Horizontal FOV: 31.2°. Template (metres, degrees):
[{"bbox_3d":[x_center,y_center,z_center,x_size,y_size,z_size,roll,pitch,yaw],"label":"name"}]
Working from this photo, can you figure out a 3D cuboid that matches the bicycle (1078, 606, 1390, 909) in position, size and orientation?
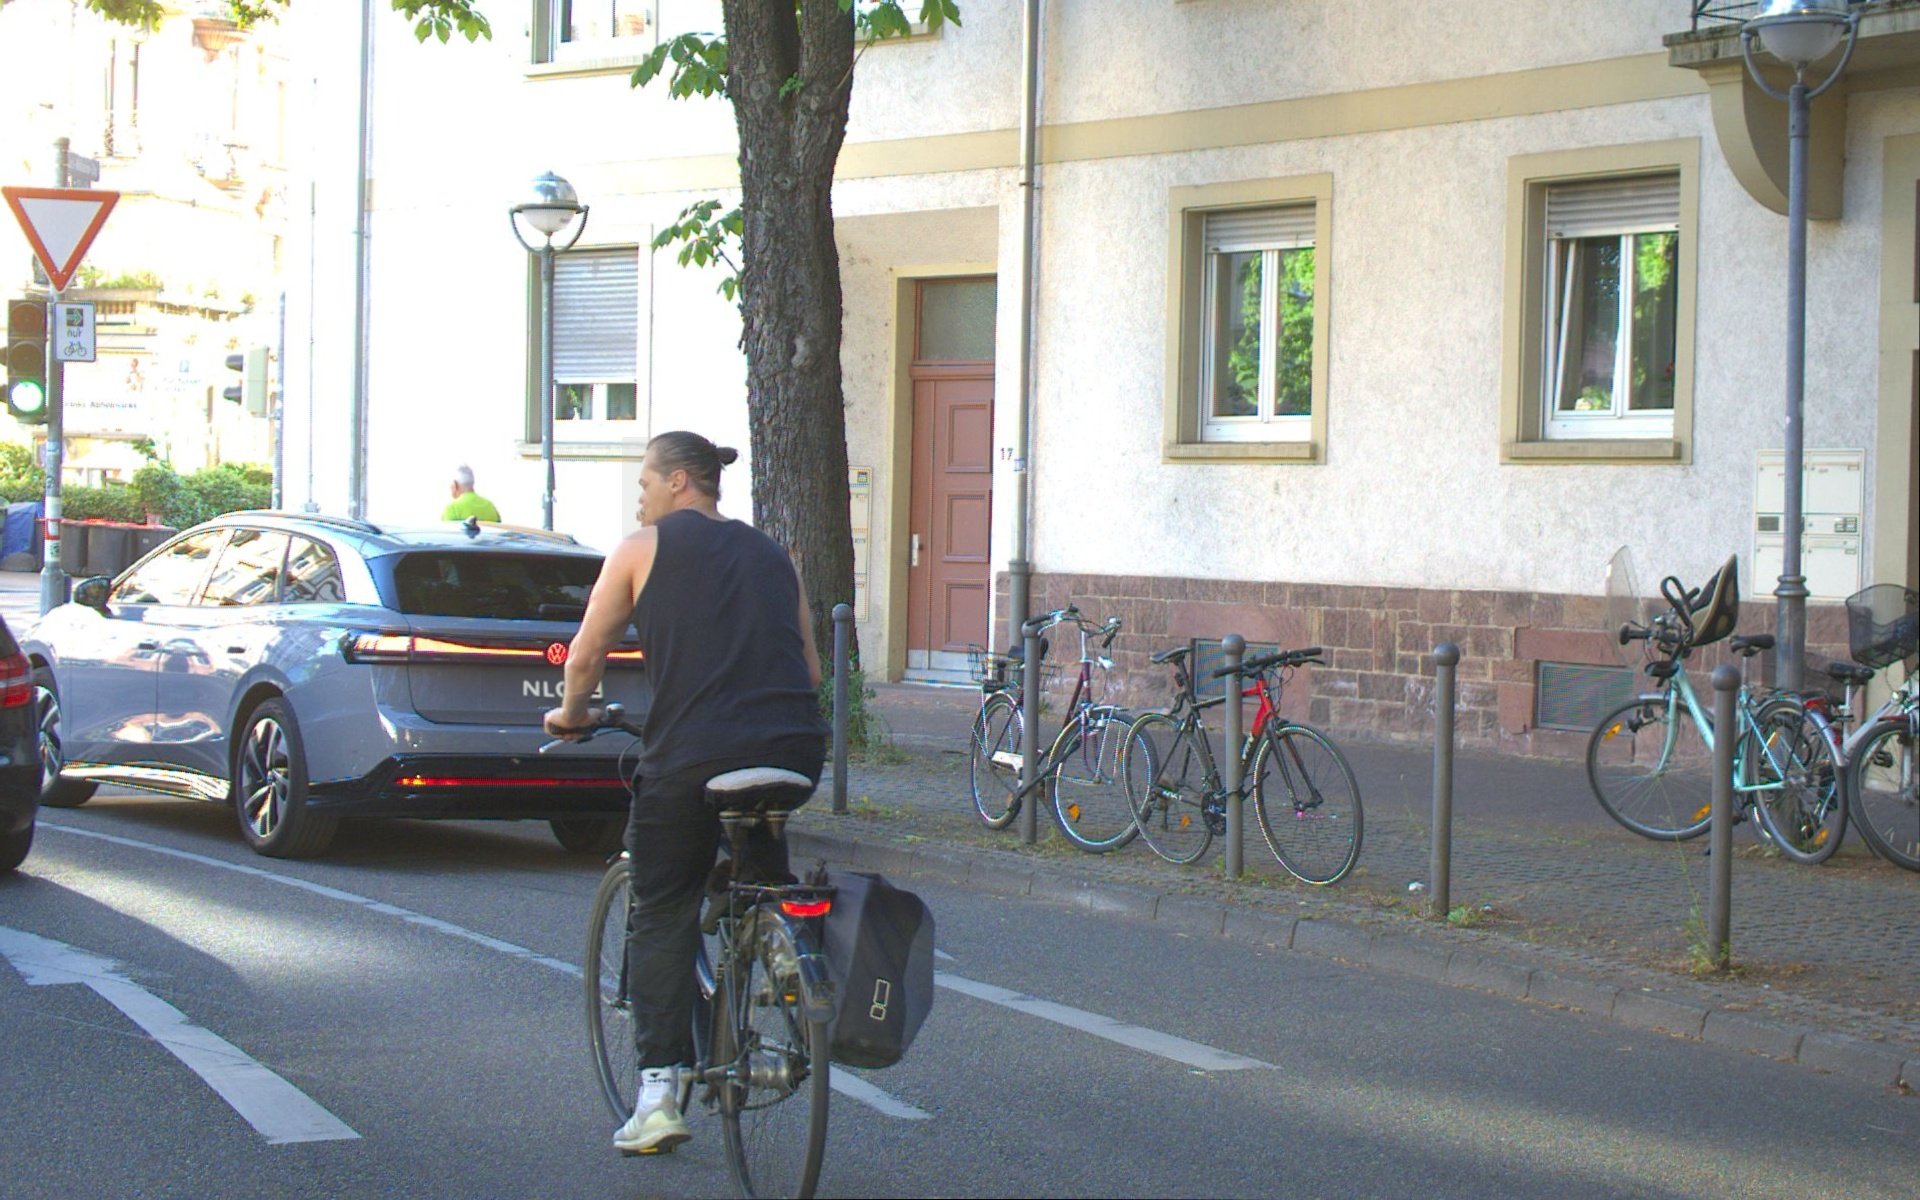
[{"bbox_3d":[1.116,0.620,14.381,0.526,1.103,1.741,-2,3,-24],"label":"bicycle"}]

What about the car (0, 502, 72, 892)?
[{"bbox_3d":[-5.406,0.350,14.791,1.790,1.536,3.859,-2,2,-36],"label":"car"}]

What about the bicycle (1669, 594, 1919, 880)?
[{"bbox_3d":[3.901,0.560,14.908,0.667,1.103,1.967,1,1,-19],"label":"bicycle"}]

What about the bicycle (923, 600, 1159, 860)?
[{"bbox_3d":[0.354,0.574,16.008,0.480,1.060,1.636,-2,3,-22],"label":"bicycle"}]

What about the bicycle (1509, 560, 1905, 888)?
[{"bbox_3d":[3.189,0.488,14.891,0.717,1.273,1.967,-1,2,-21],"label":"bicycle"}]

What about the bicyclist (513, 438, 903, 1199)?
[{"bbox_3d":[-0.585,0.477,7.661,0.686,1.650,0.990,0,2,-15],"label":"bicyclist"}]

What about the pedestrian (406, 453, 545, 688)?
[{"bbox_3d":[-3.636,-0.237,25.793,0.643,1.721,0.888,-3,3,-39],"label":"pedestrian"}]

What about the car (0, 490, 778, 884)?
[{"bbox_3d":[-2.920,0.343,16.602,1.970,1.580,4.475,3,0,-34],"label":"car"}]
